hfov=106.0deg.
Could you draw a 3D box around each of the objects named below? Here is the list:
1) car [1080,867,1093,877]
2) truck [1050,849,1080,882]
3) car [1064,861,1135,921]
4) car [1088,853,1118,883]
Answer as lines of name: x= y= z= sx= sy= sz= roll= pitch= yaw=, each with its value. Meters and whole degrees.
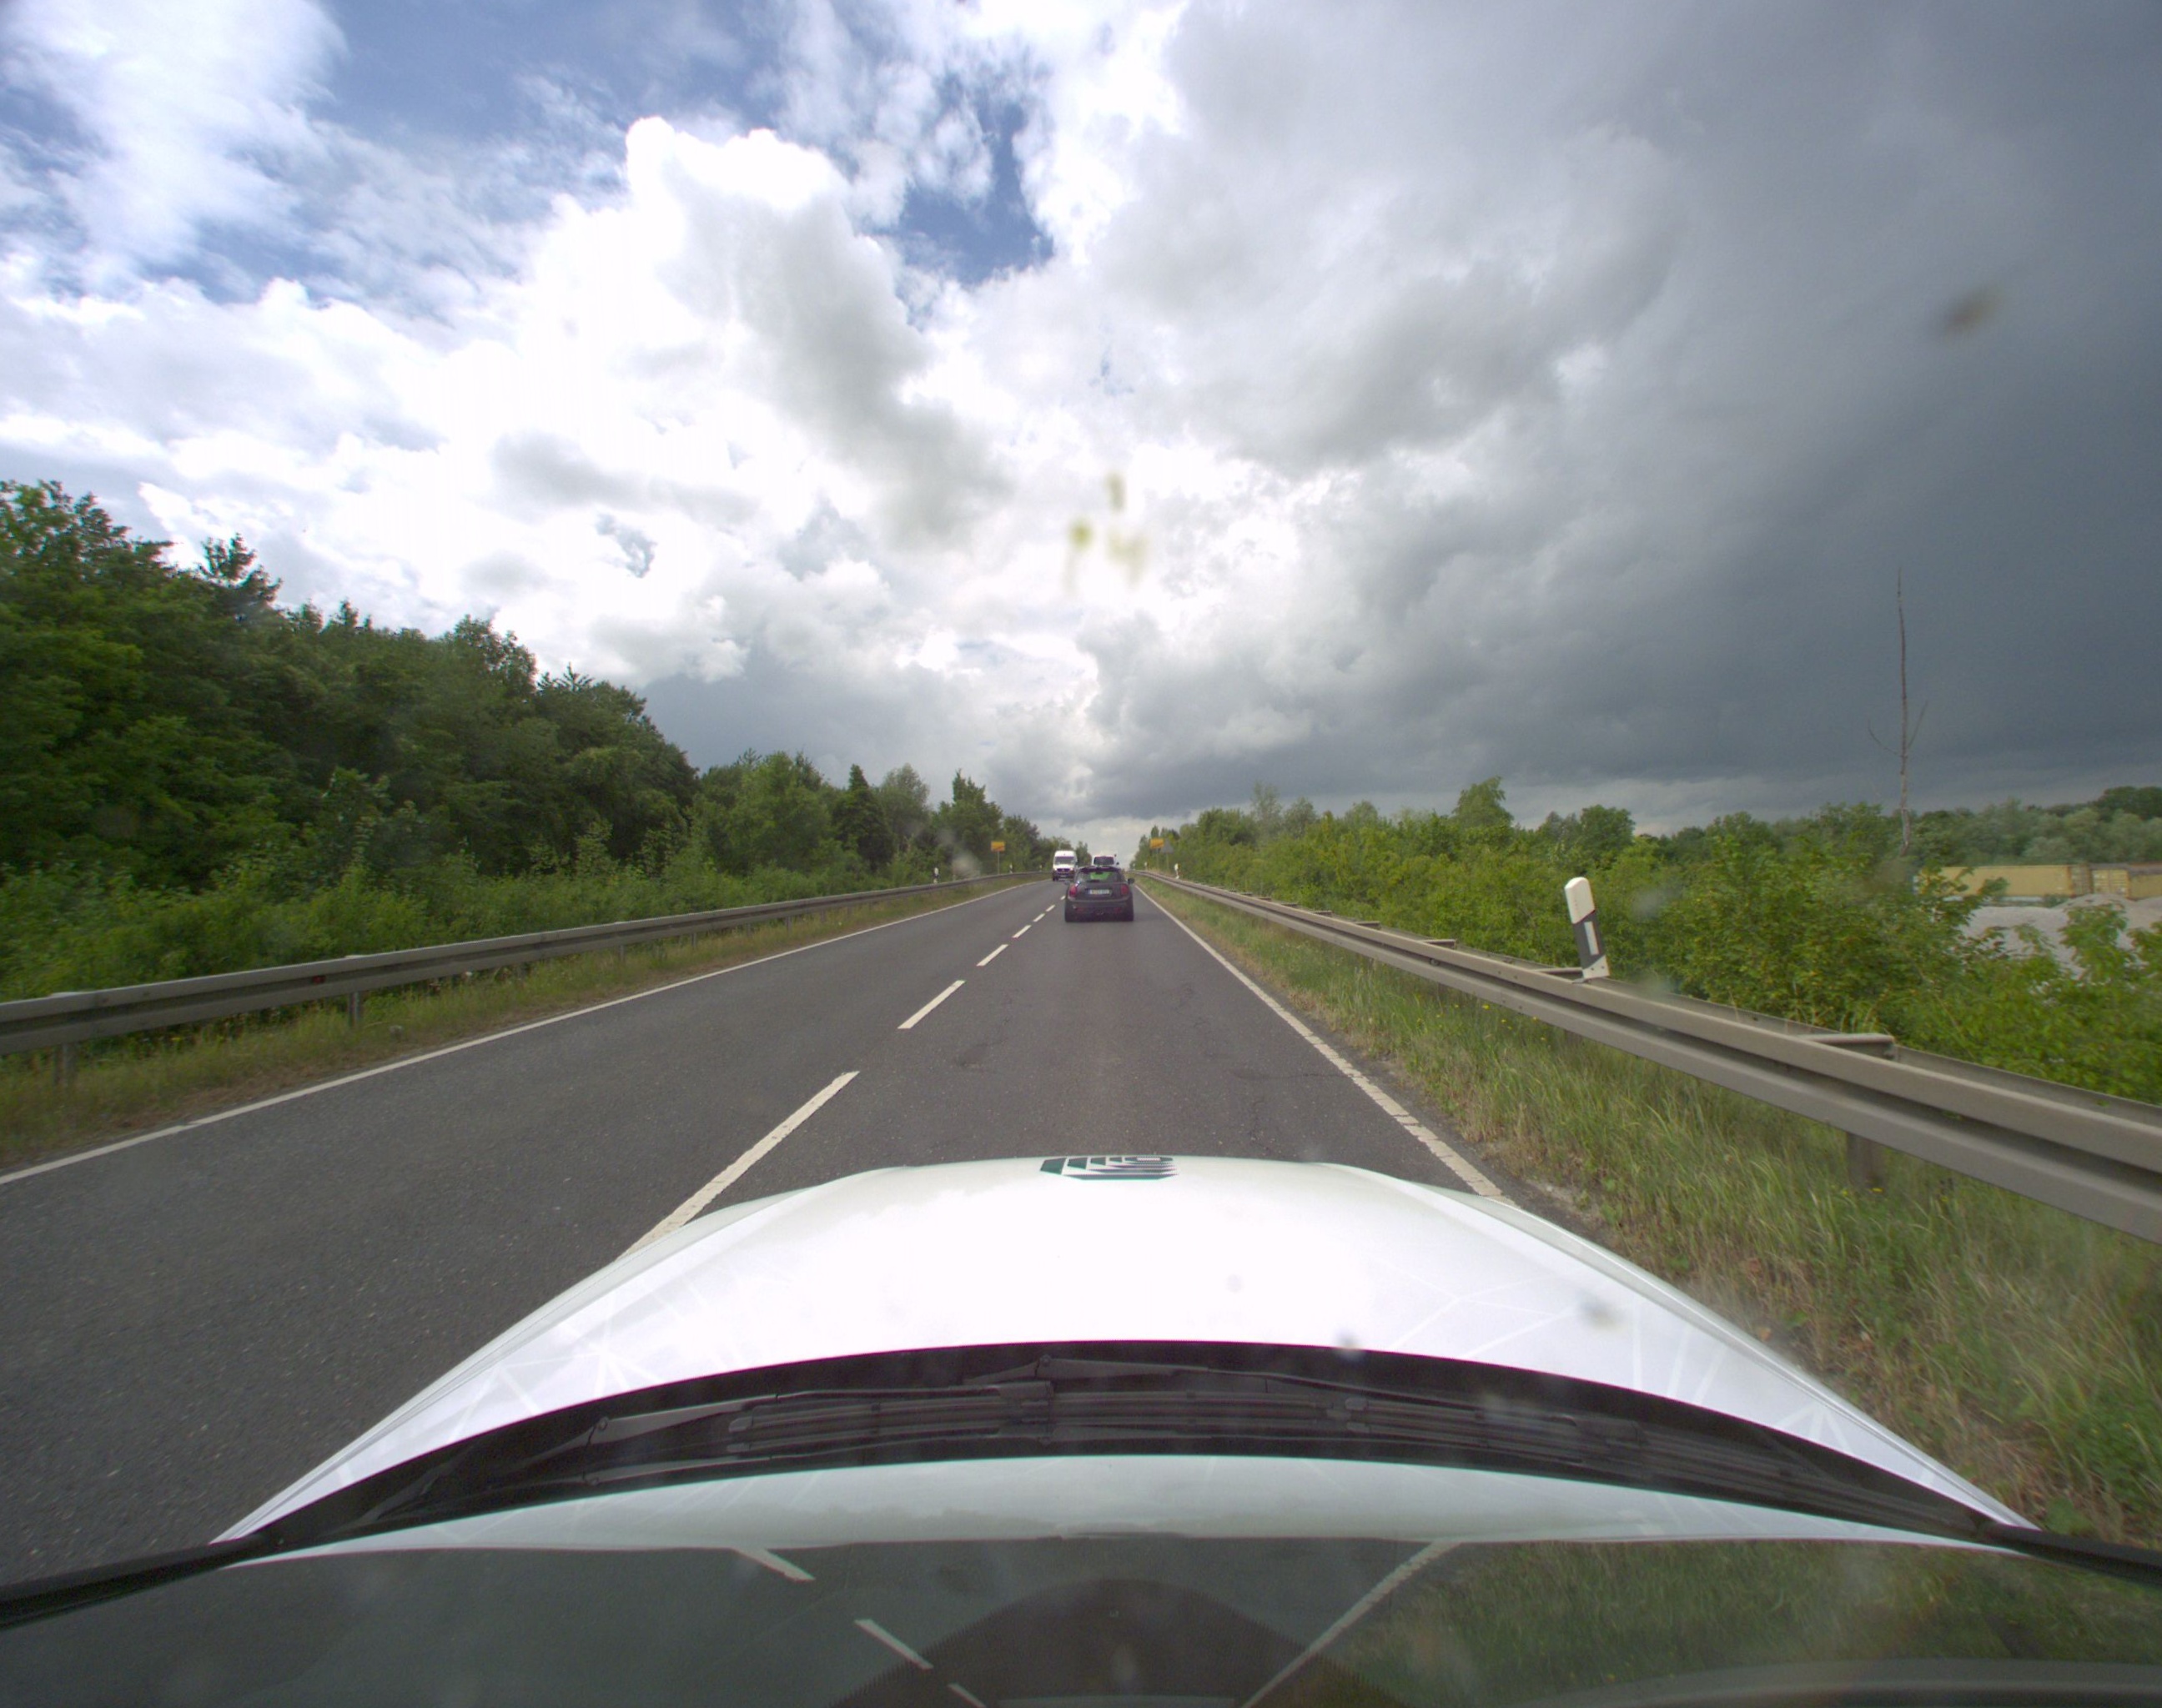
car: x=0.913 y=2.912 z=132.574 sx=1.828 sy=1.420 sz=4.002 roll=-1 pitch=-3 yaw=3
truck: x=-1.380 y=0.972 z=71.908 sx=2.056 sy=2.742 sz=7.012 roll=-1 pitch=0 yaw=3
car: x=0.502 y=0.939 z=21.945 sx=1.726 sy=1.456 sz=4.000 roll=-1 pitch=-1 yaw=1
car: x=1.545 y=0.978 z=57.504 sx=2.015 sy=2.013 sz=4.001 roll=-1 pitch=-1 yaw=2
